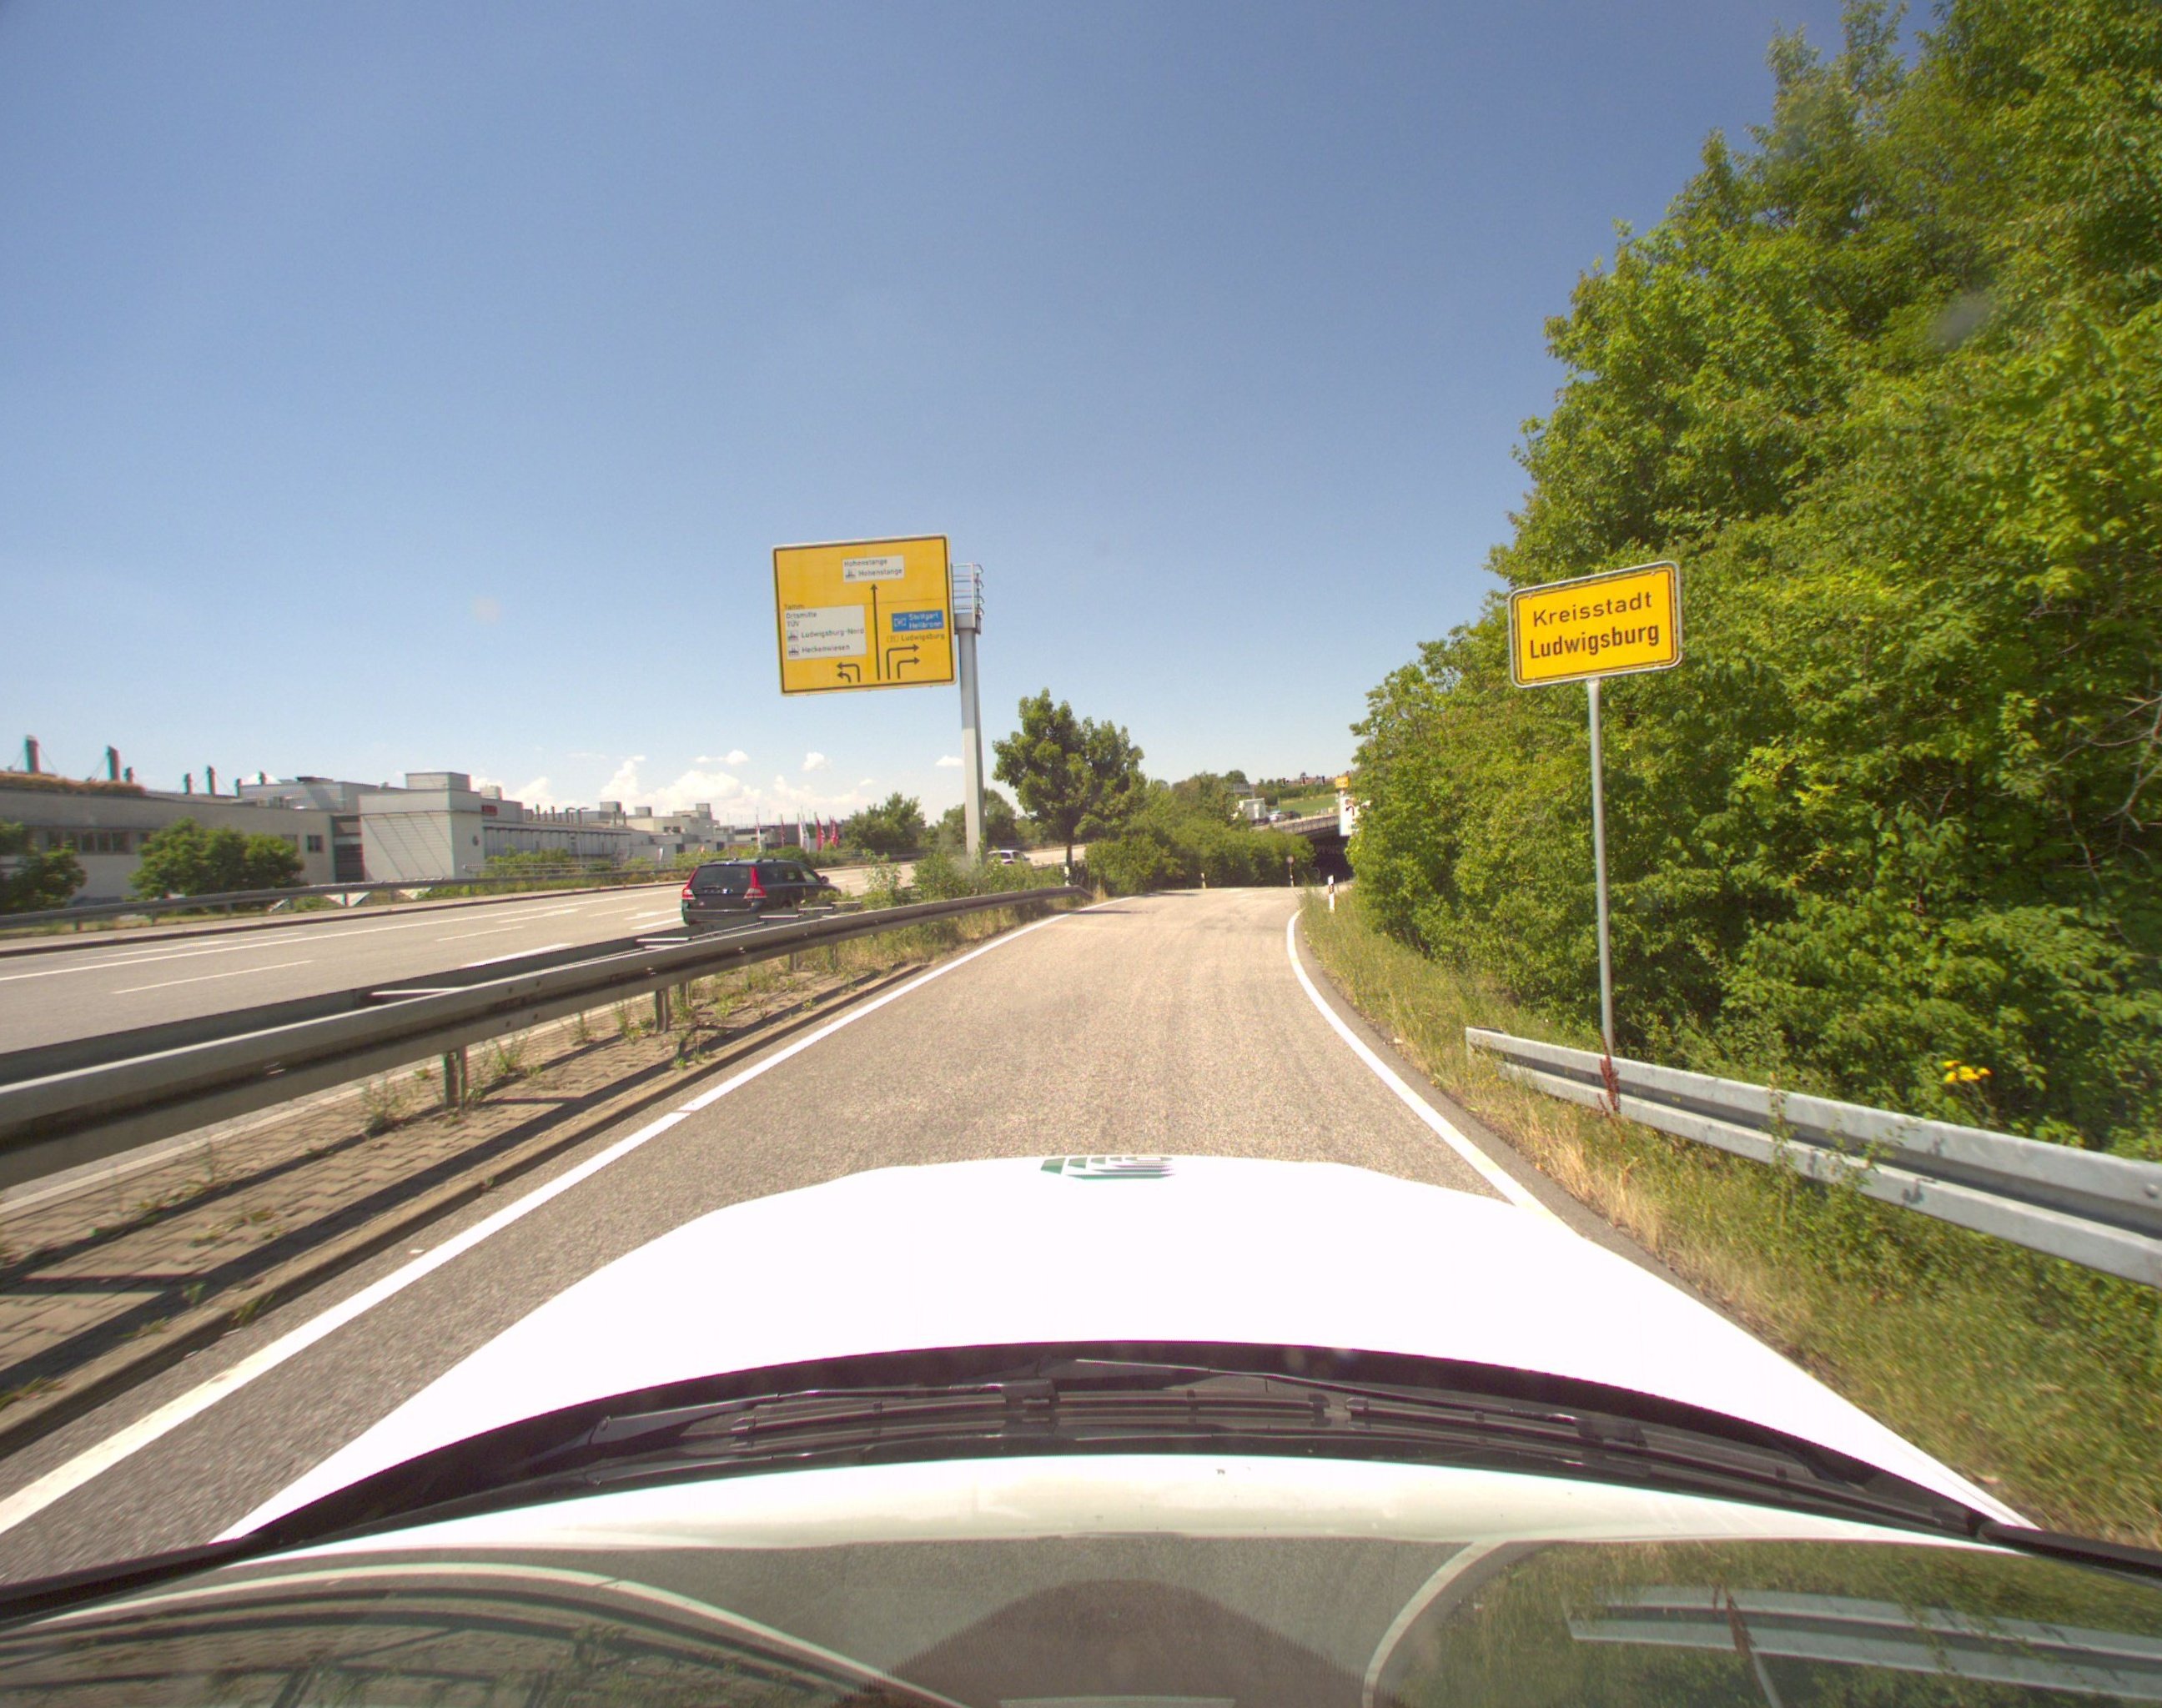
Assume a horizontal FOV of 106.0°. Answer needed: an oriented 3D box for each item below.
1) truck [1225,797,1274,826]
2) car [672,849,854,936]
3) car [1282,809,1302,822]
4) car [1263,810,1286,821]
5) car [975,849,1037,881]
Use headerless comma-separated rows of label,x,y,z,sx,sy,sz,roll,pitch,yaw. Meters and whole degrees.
truck,23.186,-5.772,111.690,2.997,3.589,8.962,-4,0,34
car,-6.567,0.720,17.480,1.724,1.545,4.738,-3,0,3
car,31.986,-5.813,123.402,1.974,1.618,4.025,-1,0,29
car,27.917,-5.528,117.248,1.878,1.363,4.026,-1,0,35
car,-3.732,0.541,41.192,1.981,1.486,4.148,-2,0,11
